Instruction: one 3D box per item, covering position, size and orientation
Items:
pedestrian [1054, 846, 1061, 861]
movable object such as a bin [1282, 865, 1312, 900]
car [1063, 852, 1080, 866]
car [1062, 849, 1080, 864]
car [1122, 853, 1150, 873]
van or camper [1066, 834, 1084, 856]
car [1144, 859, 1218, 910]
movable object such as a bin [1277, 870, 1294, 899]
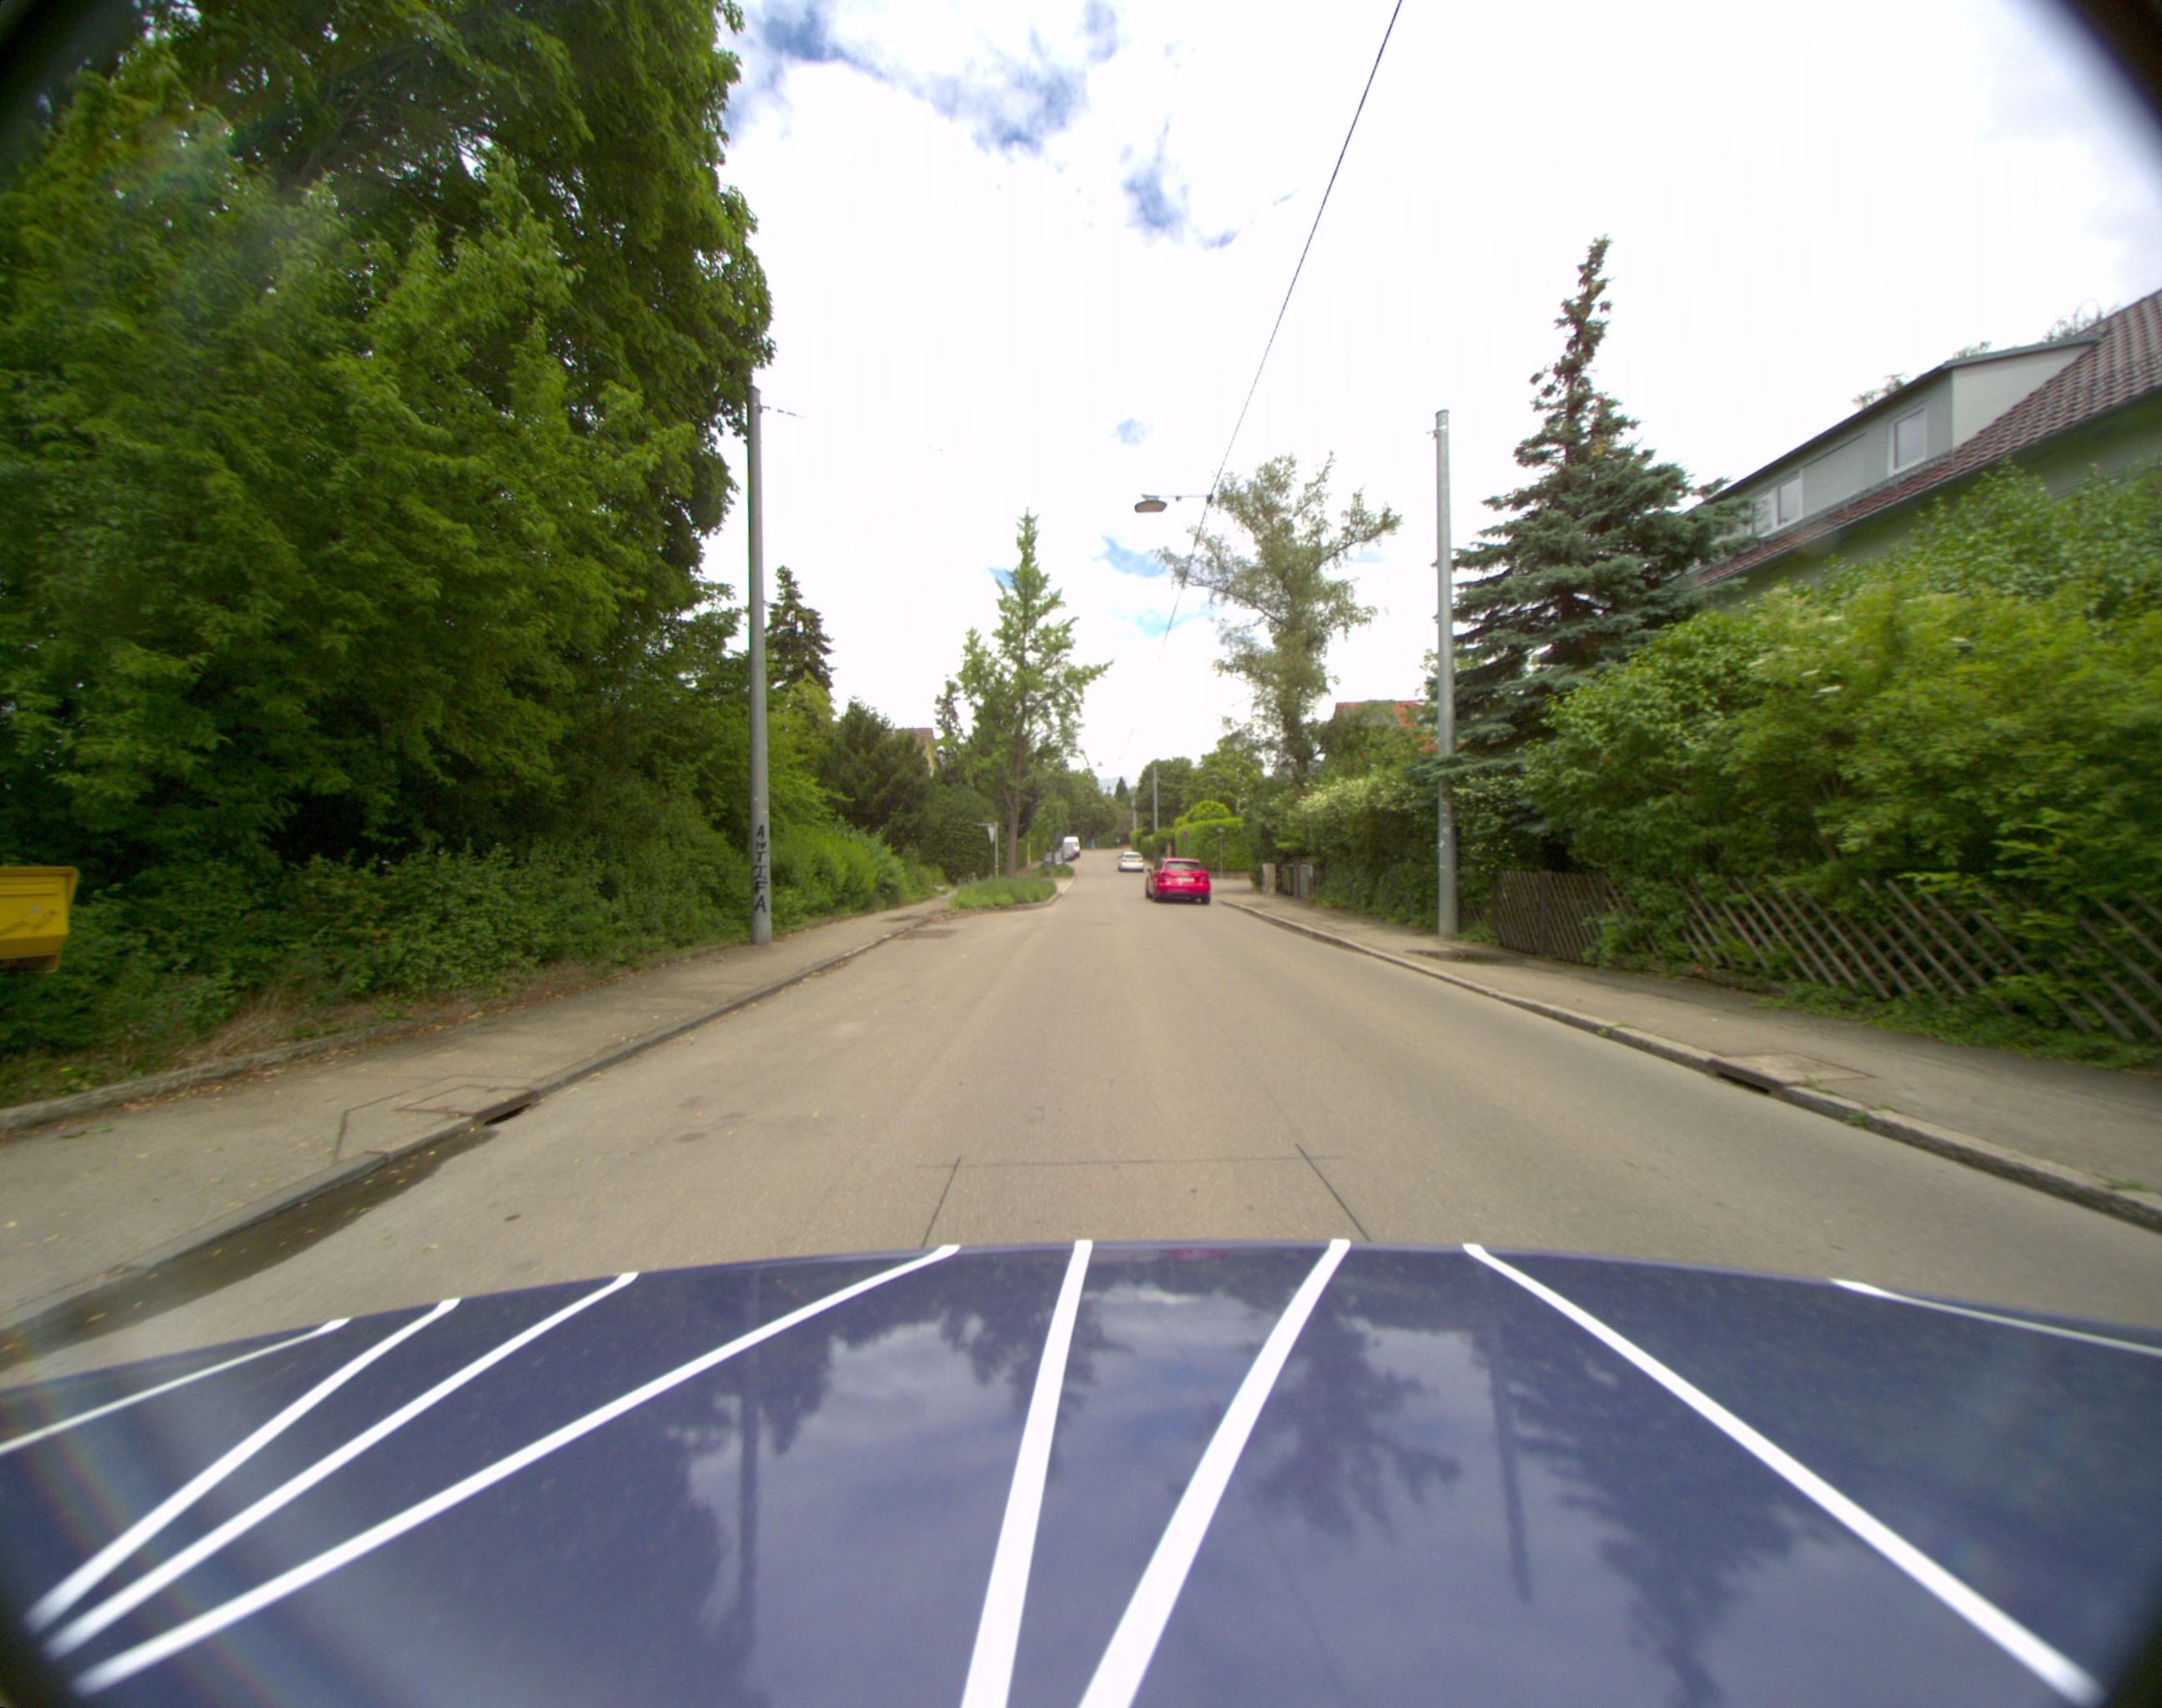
[{"bbox_3d":[-2.805,-0.066,90.895,0.671,1.689,0.918,1,2,2],"label":"pedestrian"},{"bbox_3d":[7.274,0.954,25.574,0.729,1.119,0.722,-4,1,-2],"label":"movable object such as a bin"},{"bbox_3d":[-0.983,0.533,82.803,1.683,1.399,4.053,-3,0,1],"label":"car"},{"bbox_3d":[-1.175,0.283,90.055,1.893,1.572,4.764,1,1,1],"label":"car"},{"bbox_3d":[4.049,0.631,56.768,1.810,1.423,4.300,0,0,0],"label":"car"},{"bbox_3d":[-0.803,-1.214,97.440,2.046,2.605,7.036,-2,1,-1],"label":"van or camper"},{"bbox_3d":[3.179,0.930,24.936,1.810,1.423,4.118,2,0,0],"label":"car"},{"bbox_3d":[7.054,1.040,26.211,0.379,0.945,0.512,-4,1,-2],"label":"movable object such as a bin"}]
